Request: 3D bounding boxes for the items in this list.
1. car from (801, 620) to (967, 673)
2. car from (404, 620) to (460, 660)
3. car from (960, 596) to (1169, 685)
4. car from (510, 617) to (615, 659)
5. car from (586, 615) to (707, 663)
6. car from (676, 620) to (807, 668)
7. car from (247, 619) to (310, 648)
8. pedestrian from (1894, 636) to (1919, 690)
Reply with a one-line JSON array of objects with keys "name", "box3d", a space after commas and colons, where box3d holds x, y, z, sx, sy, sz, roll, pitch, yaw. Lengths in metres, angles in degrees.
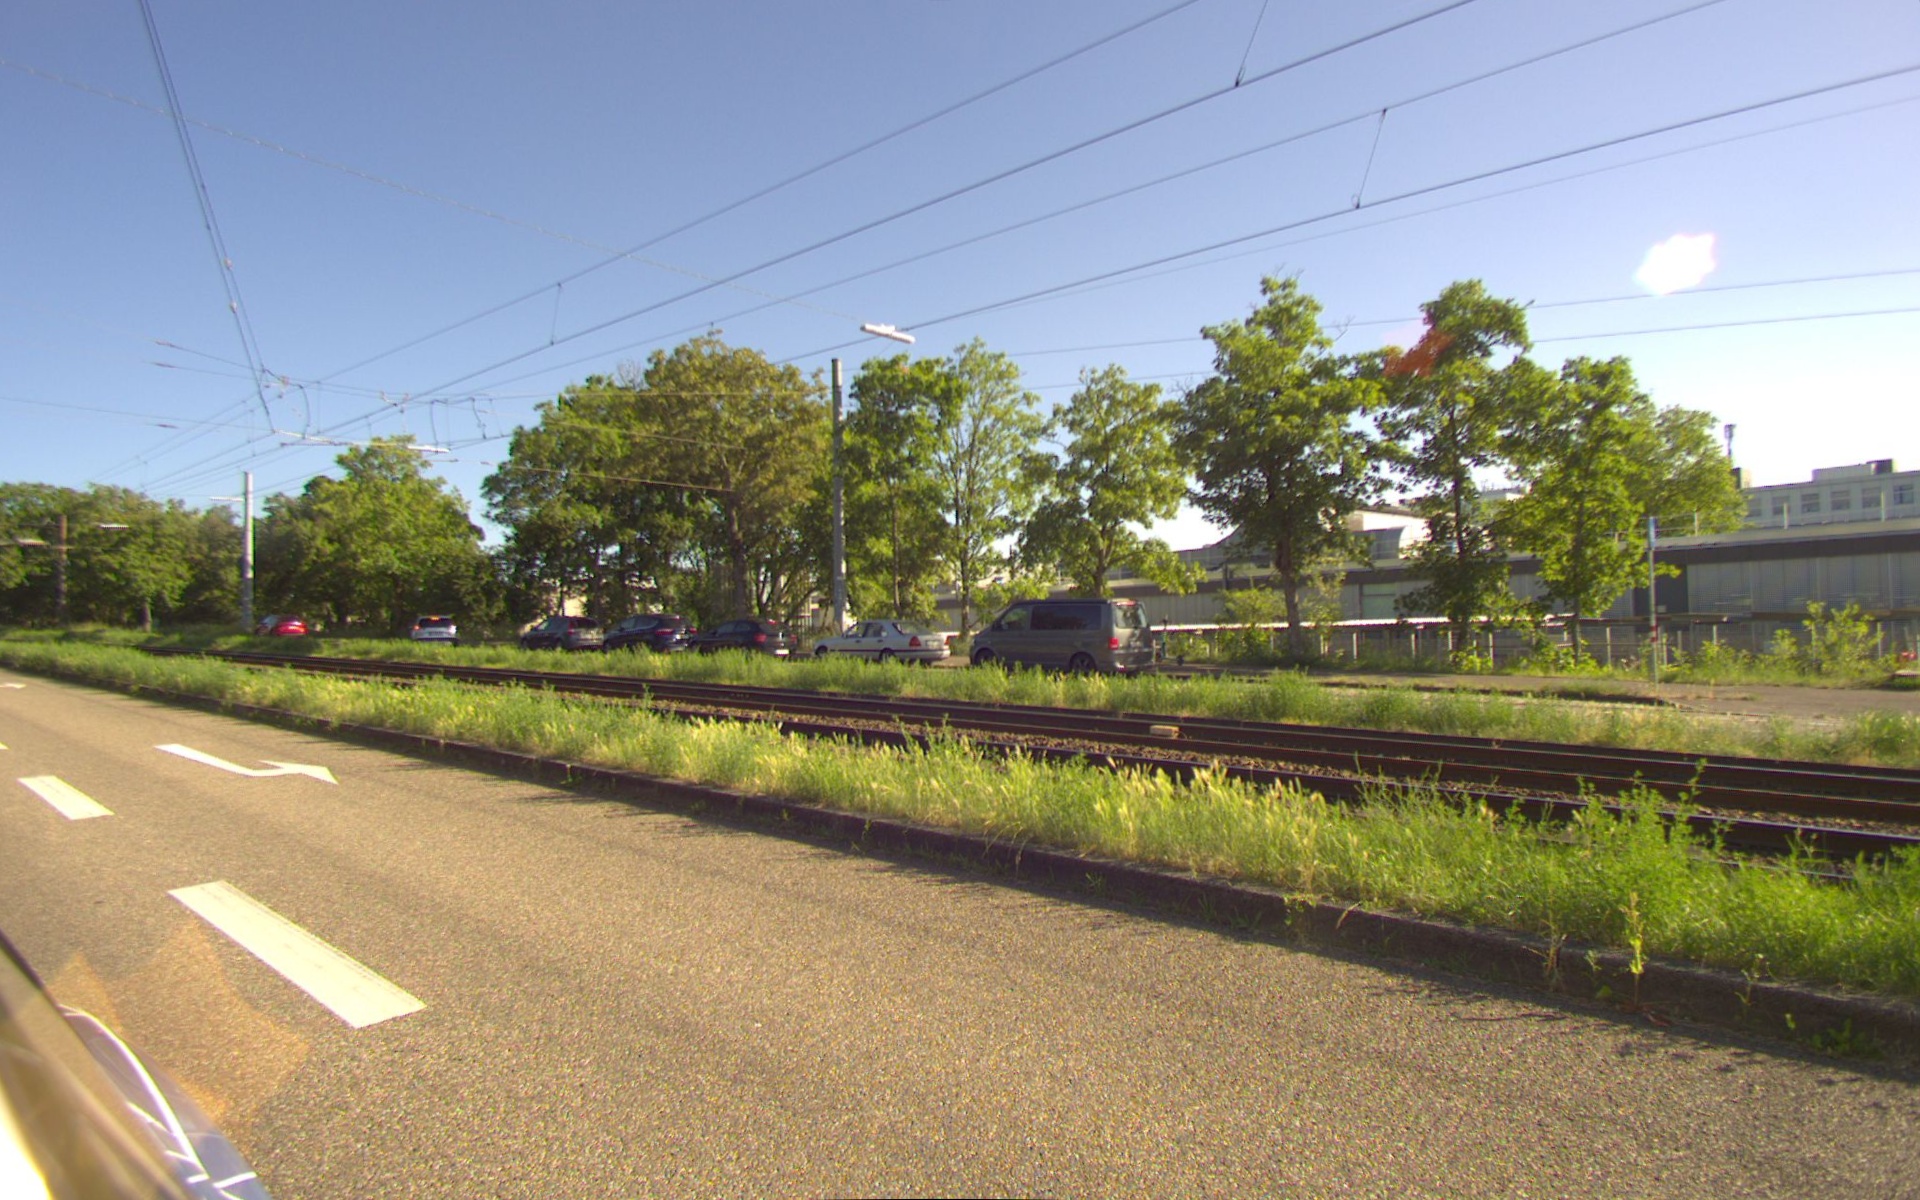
[{"name": "car", "box3d": [-2.256, 1.315, 29.230, 4.612, 1.391, 2.103, -2, -1, 40]}, {"name": "car", "box3d": [-22.110, 1.649, 42.312, 1.829, 1.569, 4.169, 0, -1, -31]}, {"name": "car", "box3d": [2.480, 0.956, 24.774, 4.684, 1.949, 2.178, -2, -1, 42]}, {"name": "car", "box3d": [-16.257, 1.526, 41.267, 4.557, 1.575, 2.103, -2, -1, 41]}, {"name": "car", "box3d": [-11.428, 1.394, 36.790, 4.614, 1.599, 2.102, -2, -1, 41]}, {"name": "car", "box3d": [-7.233, 1.428, 33.238, 4.486, 1.437, 1.935, -2, -1, 42]}, {"name": "car", "box3d": [-42.451, 2.087, 62.995, 4.797, 1.746, 2.290, -2, -1, 43]}, {"name": "pedestrian", "box3d": [23.541, 1.540, 25.022, 0.435, 1.310, 0.441, -1, -2, -1]}]
